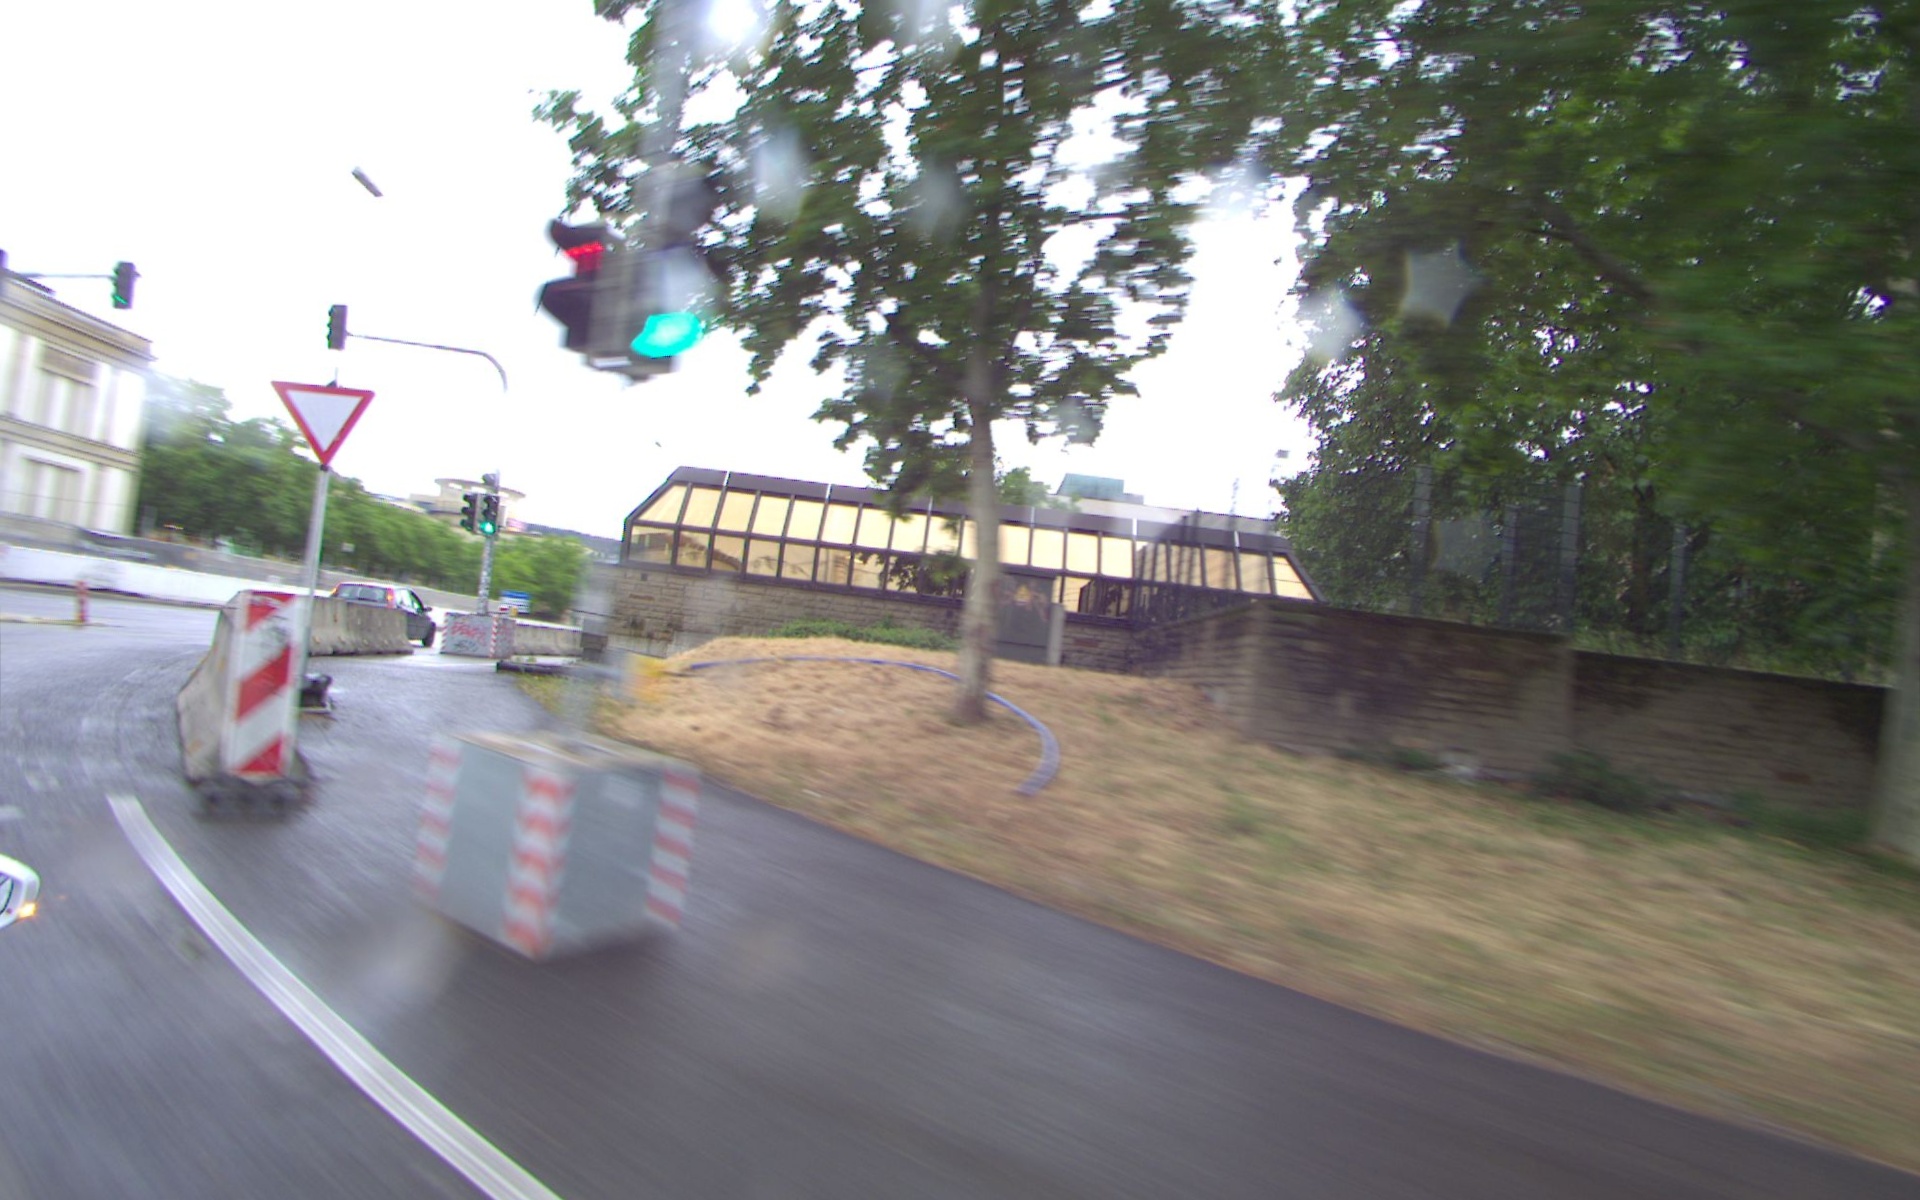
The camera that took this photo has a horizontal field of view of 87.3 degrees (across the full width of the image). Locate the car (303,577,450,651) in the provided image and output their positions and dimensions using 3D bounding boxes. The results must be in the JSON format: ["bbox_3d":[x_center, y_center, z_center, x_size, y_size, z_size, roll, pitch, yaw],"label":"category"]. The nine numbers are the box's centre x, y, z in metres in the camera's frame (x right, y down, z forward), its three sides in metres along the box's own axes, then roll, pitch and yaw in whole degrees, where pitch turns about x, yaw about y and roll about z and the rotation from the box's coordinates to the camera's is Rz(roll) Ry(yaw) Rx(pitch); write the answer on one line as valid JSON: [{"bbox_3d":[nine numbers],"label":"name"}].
[{"bbox_3d":[-14.079,0.412,24.515,1.646,1.442,3.759,6,-4,-7],"label":"car"}]
